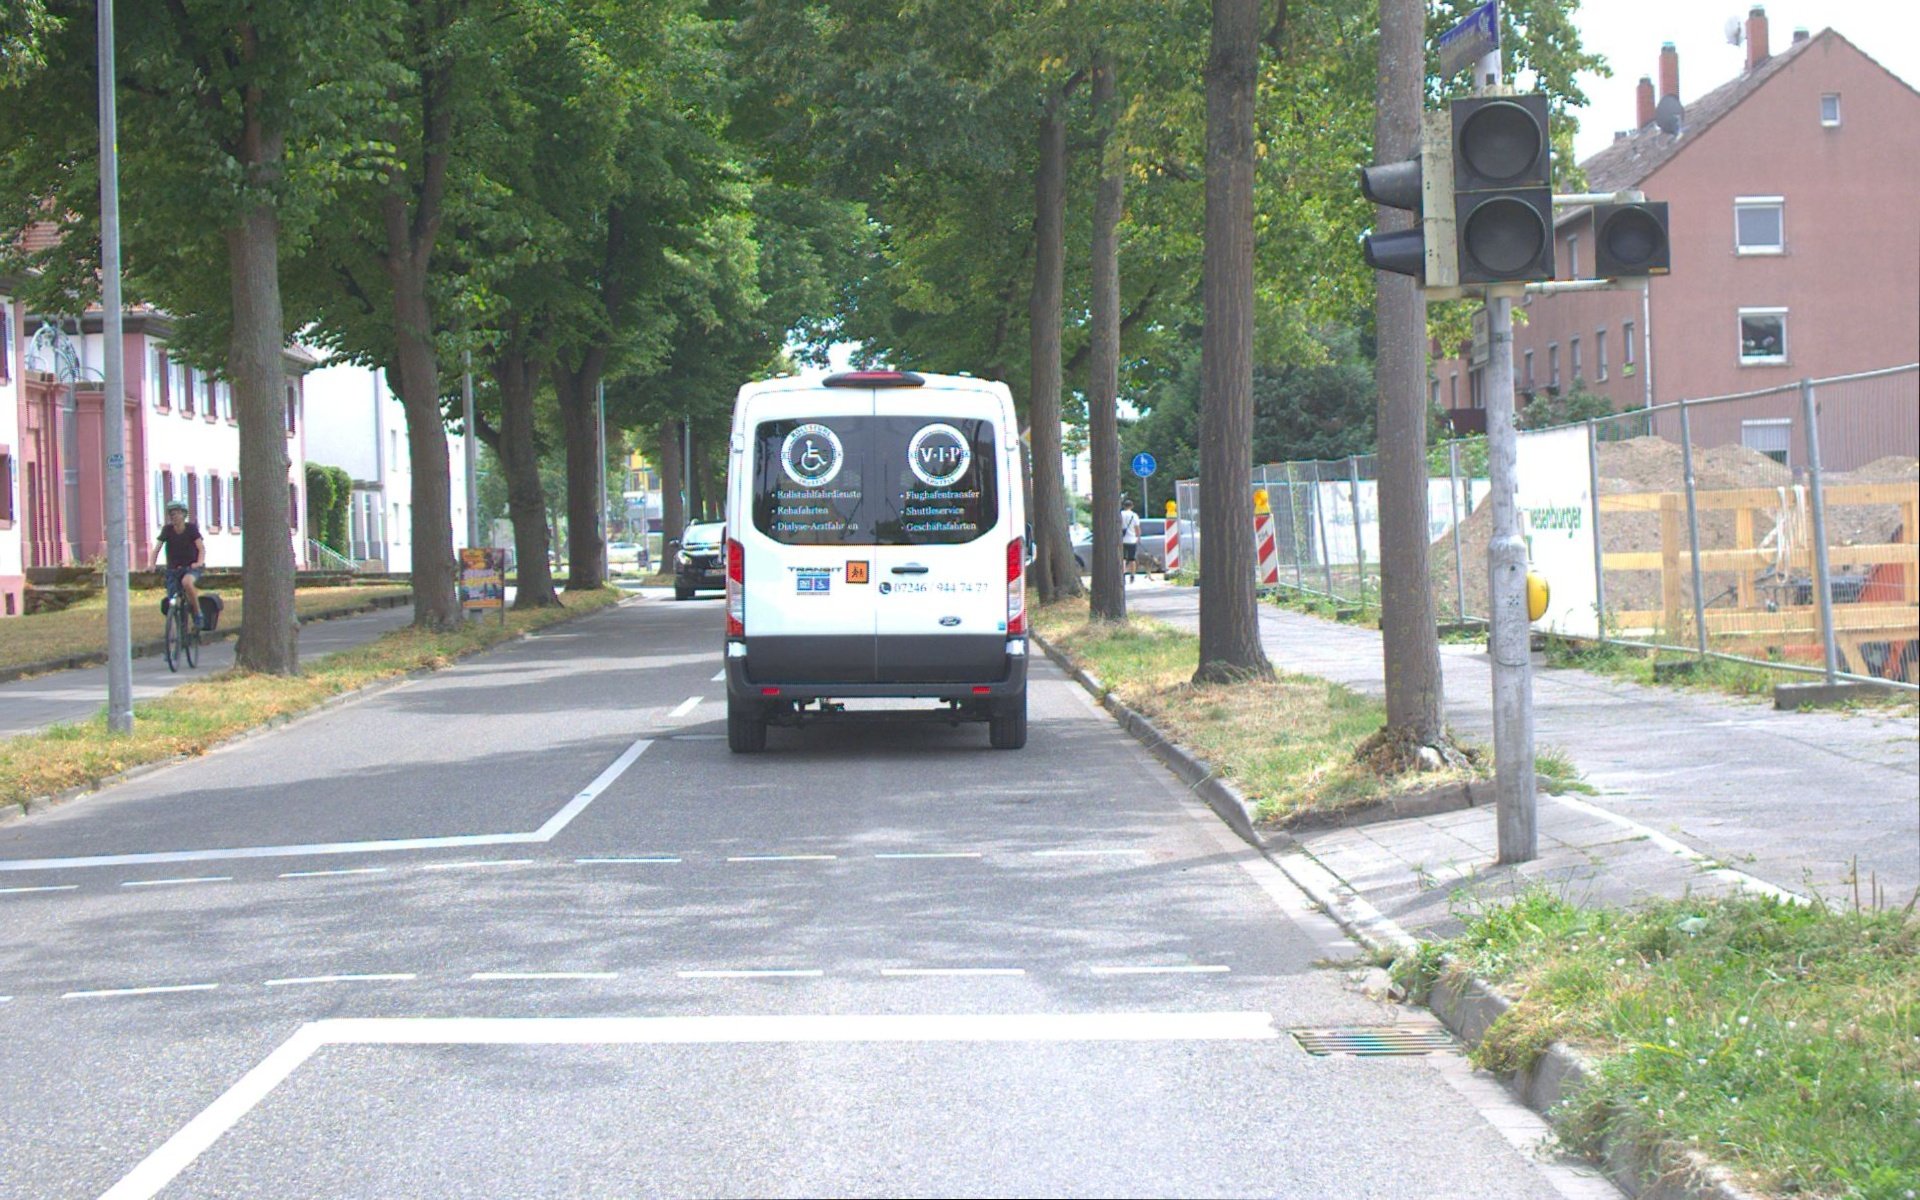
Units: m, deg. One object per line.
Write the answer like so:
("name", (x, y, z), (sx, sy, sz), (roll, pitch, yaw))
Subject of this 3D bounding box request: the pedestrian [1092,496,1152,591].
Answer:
("pedestrian", (3.201, -1.113, 67.822), (0.883, 1.808, 0.888), (-3, 1, 18))

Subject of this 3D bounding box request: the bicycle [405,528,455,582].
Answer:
("bicycle", (-11.189, -0.960, 72.591), (0.722, 1.091, 2.225), (2, 1, -1))

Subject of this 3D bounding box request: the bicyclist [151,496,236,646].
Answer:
("bicyclist", (-8.648, -0.337, 38.807), (0.722, 1.650, 0.958), (2, 1, -1))

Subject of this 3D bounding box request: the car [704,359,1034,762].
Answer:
("car", (-0.720, -0.285, 23.852), (2.062, 2.531, 4.001), (-1, 1, -4))

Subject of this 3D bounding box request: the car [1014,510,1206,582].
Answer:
("car", (3.481, -1.256, 80.309), (4.371, 1.438, 2.011), (-2, -1, 1))

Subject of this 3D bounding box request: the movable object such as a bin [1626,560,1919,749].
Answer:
("movable object such as a bin", (12.929, 0.818, 53.732), (4.685, 2.581, 3.131), (-3, 1, 13))

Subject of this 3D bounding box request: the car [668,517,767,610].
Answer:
("car", (-4.908, -0.776, 70.088), (1.771, 1.653, 4.258), (-3, 3, -2))

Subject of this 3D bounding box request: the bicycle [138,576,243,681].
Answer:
("bicycle", (-8.665, 0.304, 38.795), (0.722, 1.091, 2.151), (2, 1, -1))
